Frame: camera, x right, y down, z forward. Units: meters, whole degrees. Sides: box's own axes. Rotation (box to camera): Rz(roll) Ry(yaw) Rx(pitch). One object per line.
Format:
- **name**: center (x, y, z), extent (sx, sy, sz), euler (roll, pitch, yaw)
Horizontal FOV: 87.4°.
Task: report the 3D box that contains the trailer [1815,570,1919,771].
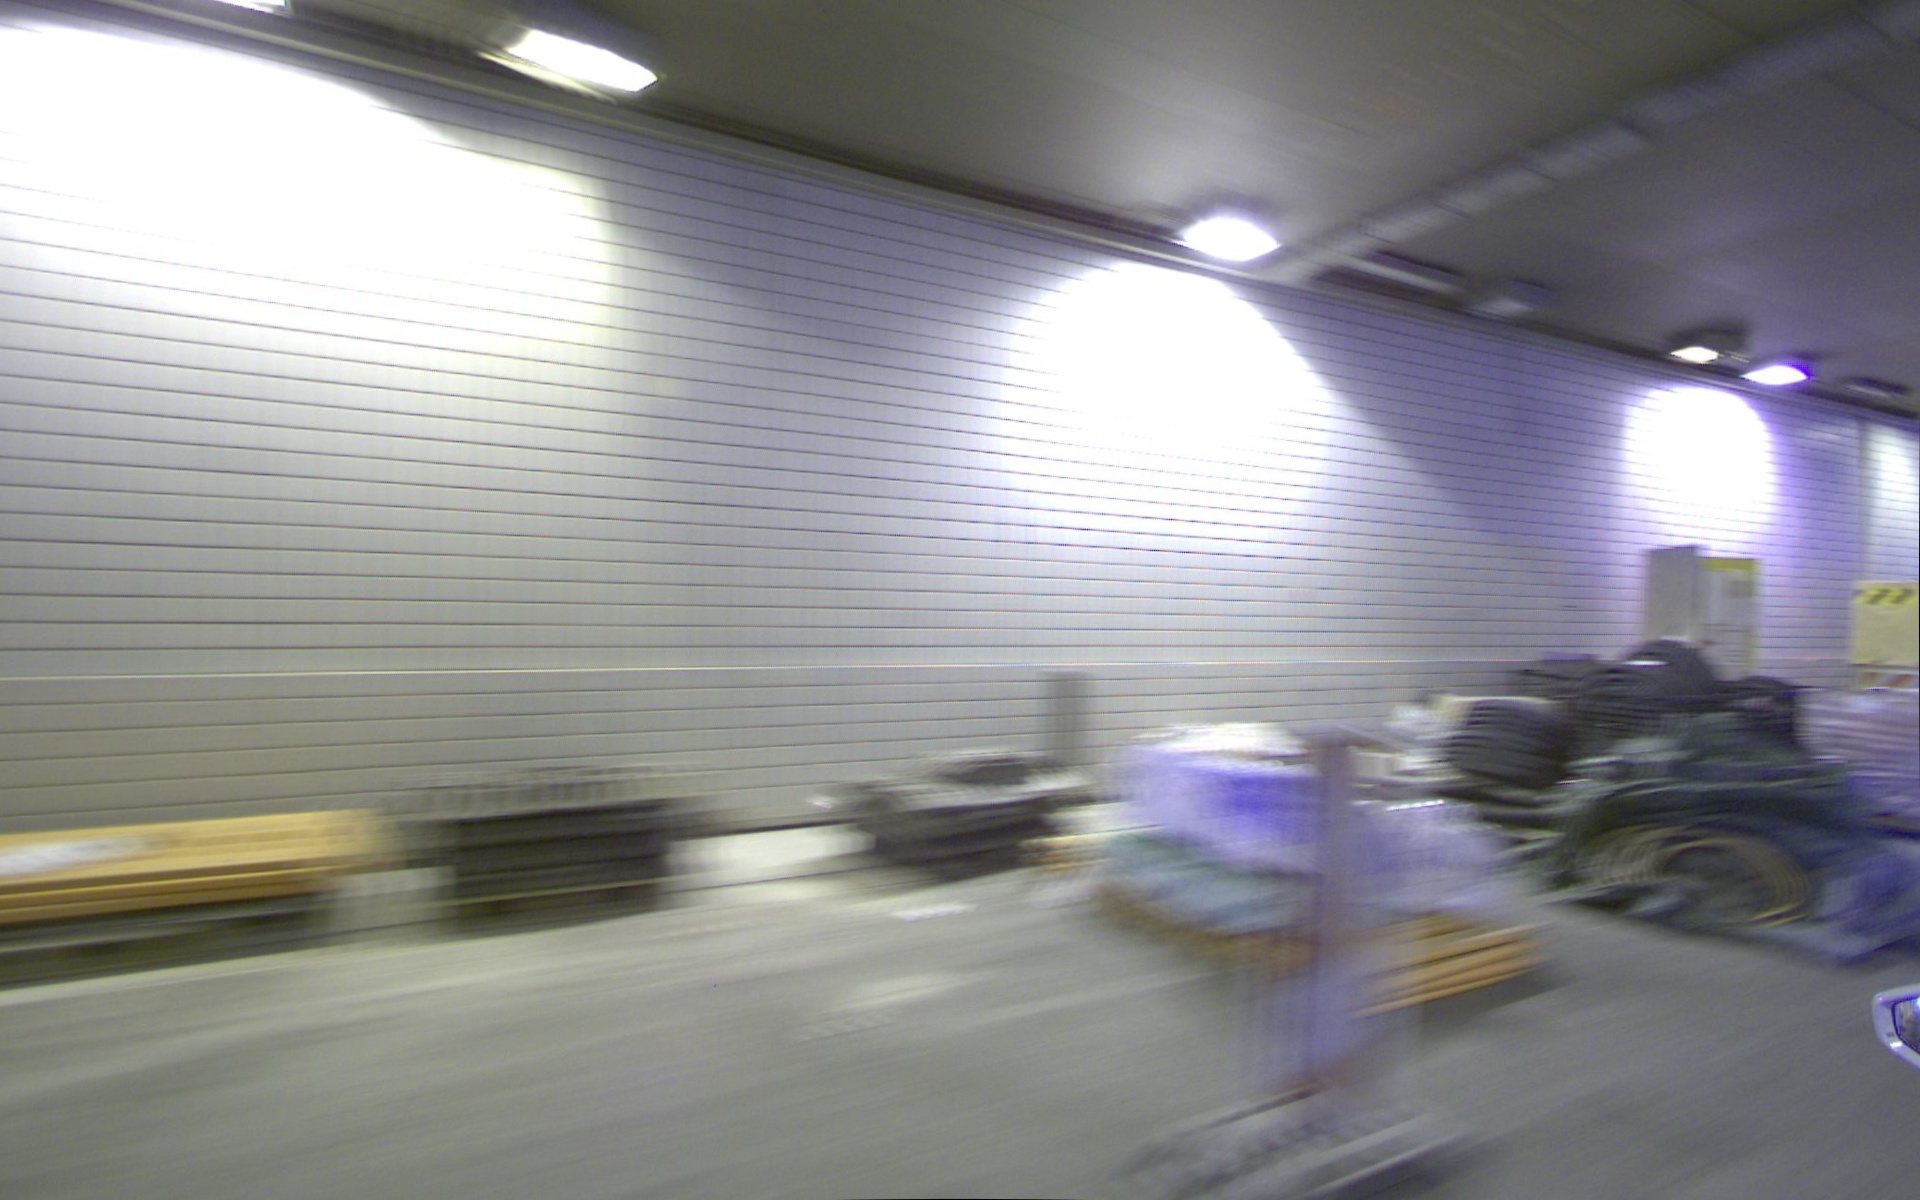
- **trailer**: center (11.354, 0.765, 10.834), extent (3.425, 2.040, 2.198), euler (2, -1, -30)
